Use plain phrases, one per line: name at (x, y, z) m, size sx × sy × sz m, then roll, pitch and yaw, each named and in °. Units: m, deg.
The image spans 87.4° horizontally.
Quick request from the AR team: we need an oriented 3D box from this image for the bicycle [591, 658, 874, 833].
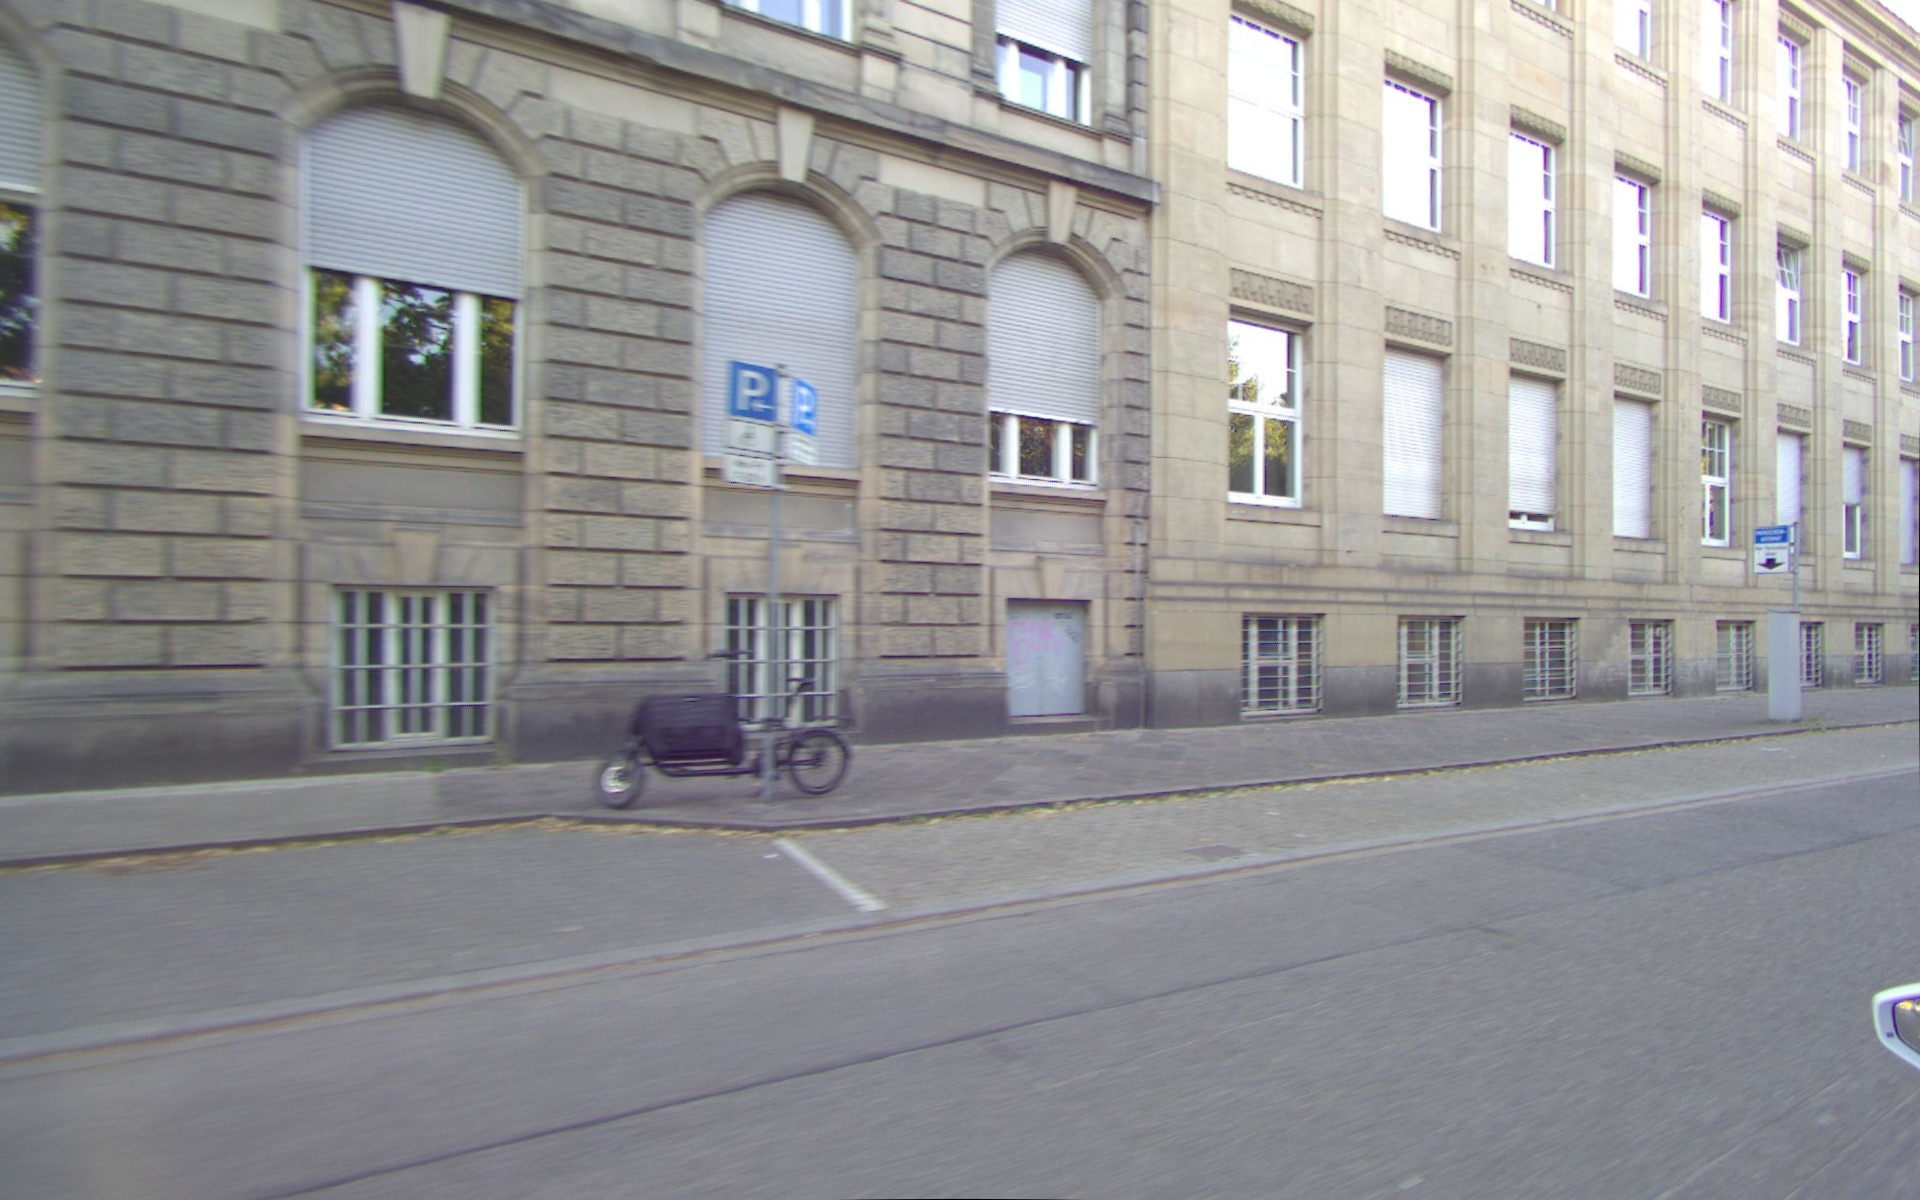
bicycle at (-1.724, 1.033, 7.630) m, size 1.956 × 1.116 × 0.849 m, roll 1°, pitch 0°, yaw -26°
